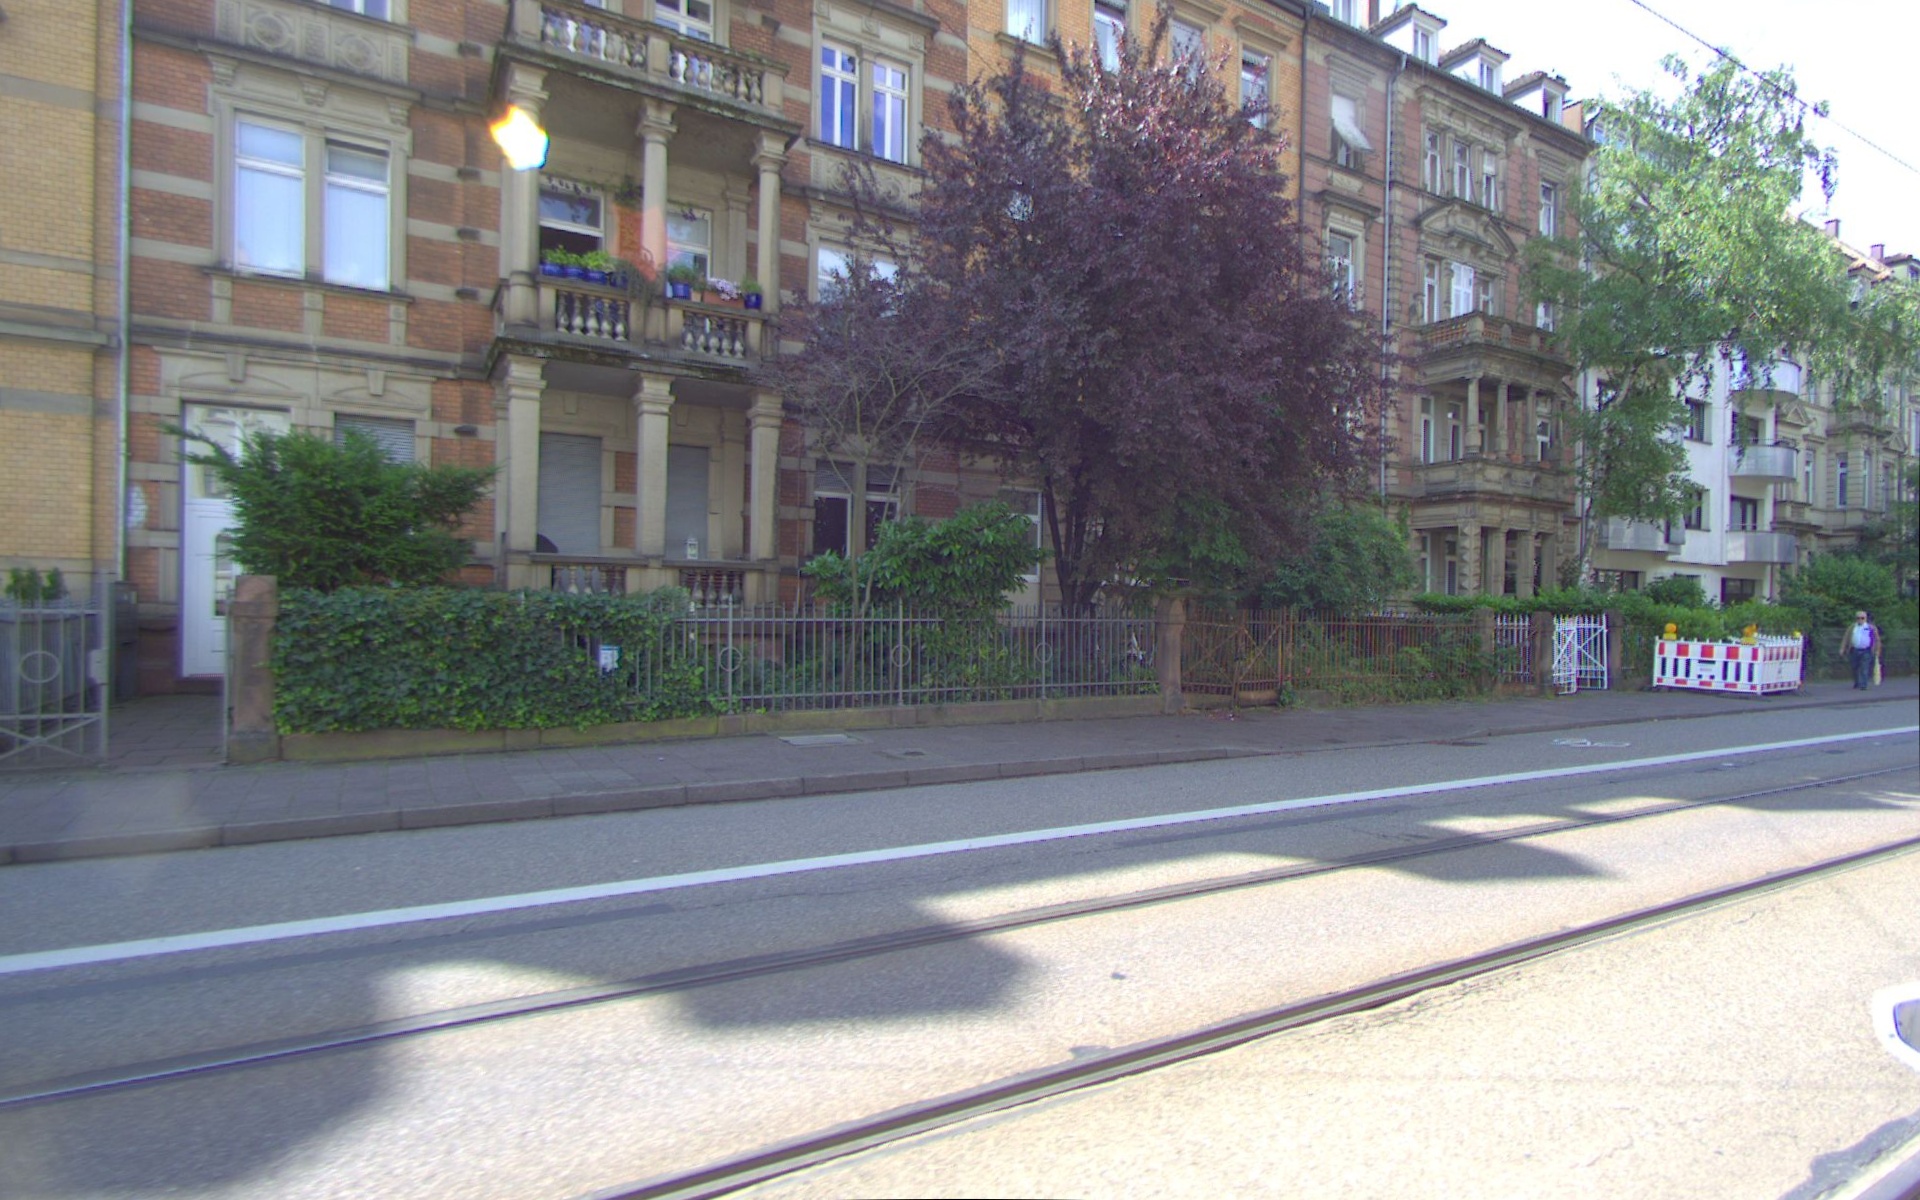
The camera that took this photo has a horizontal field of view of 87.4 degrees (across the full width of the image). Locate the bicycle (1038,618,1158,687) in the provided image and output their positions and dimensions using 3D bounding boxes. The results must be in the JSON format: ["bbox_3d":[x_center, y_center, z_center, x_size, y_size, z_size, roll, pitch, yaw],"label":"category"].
[{"bbox_3d":[2.223,0.828,16.463,0.463,1.033,2.185,1,0,-40],"label":"bicycle"}]

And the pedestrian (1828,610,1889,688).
[{"bbox_3d":[20.419,1.103,22.826,0.882,1.729,0.817,1,0,-34],"label":"pedestrian"}]
